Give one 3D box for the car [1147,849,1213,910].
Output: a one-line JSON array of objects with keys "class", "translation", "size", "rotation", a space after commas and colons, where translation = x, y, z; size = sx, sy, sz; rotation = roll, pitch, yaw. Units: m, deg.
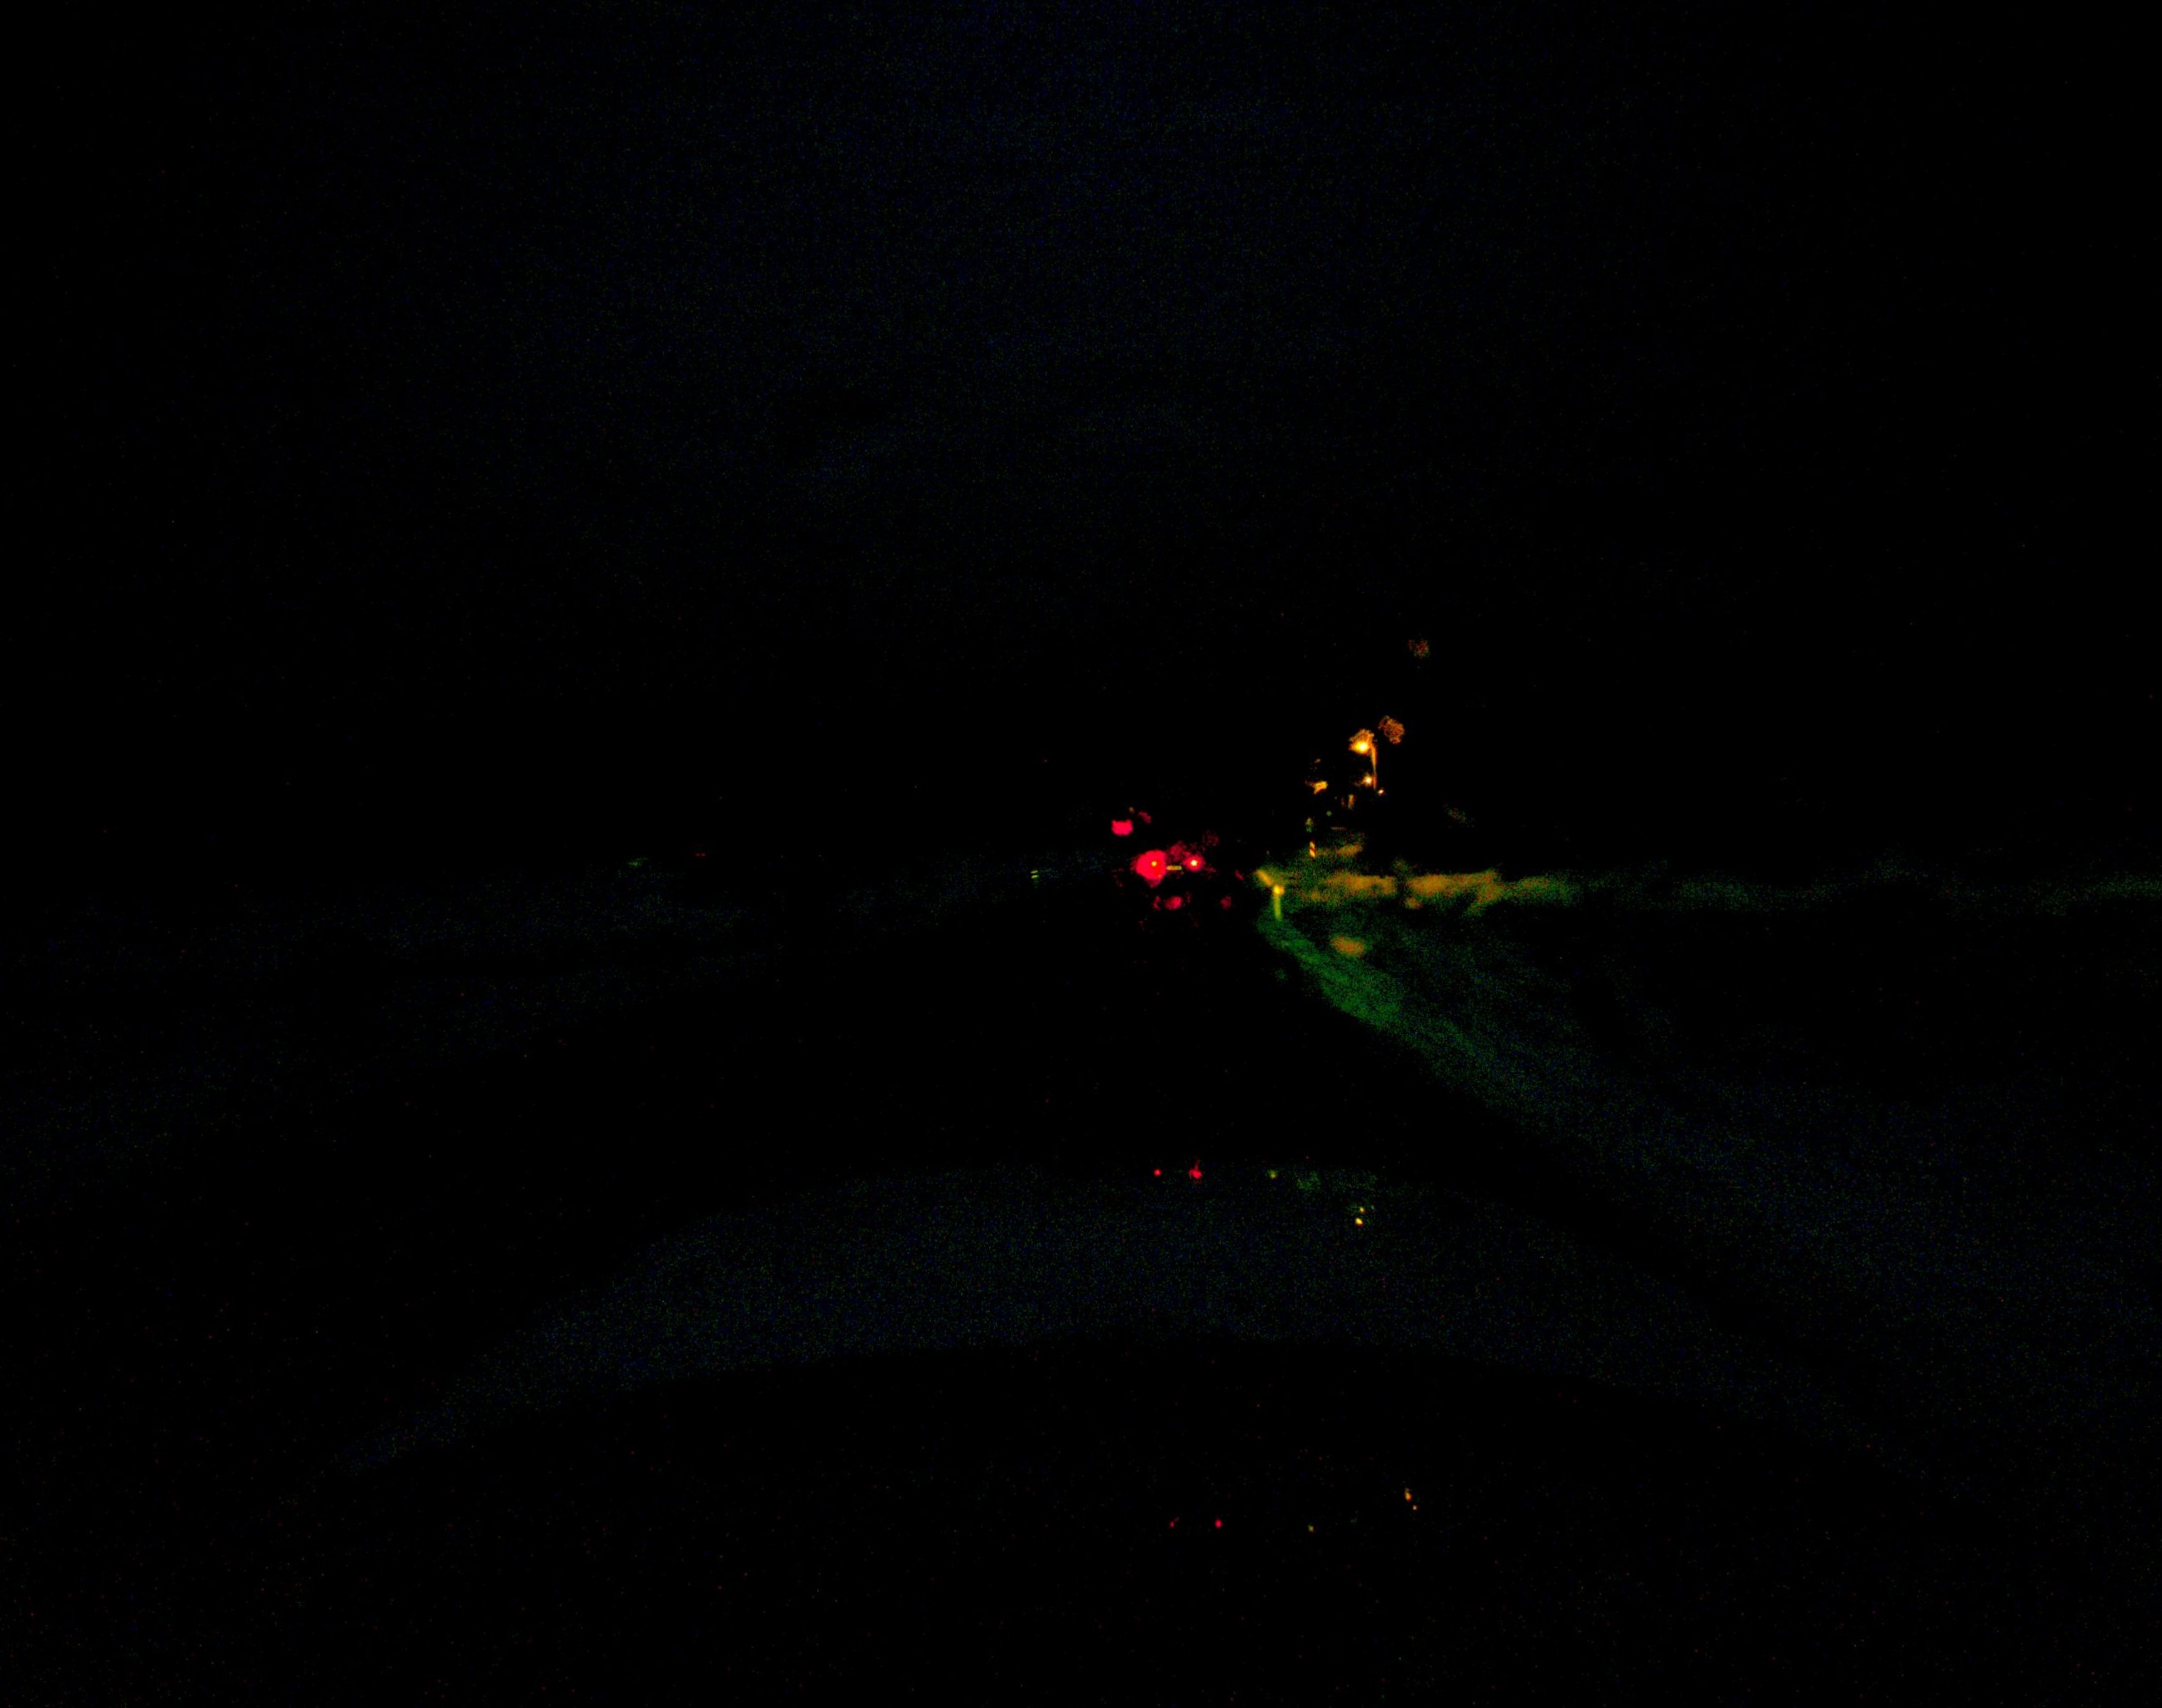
[{"class": "car", "translation": [3.275, 0.833, 27.587], "size": [1.815, 1.796, 3.580], "rotation": [-4, -1, 2]}]
